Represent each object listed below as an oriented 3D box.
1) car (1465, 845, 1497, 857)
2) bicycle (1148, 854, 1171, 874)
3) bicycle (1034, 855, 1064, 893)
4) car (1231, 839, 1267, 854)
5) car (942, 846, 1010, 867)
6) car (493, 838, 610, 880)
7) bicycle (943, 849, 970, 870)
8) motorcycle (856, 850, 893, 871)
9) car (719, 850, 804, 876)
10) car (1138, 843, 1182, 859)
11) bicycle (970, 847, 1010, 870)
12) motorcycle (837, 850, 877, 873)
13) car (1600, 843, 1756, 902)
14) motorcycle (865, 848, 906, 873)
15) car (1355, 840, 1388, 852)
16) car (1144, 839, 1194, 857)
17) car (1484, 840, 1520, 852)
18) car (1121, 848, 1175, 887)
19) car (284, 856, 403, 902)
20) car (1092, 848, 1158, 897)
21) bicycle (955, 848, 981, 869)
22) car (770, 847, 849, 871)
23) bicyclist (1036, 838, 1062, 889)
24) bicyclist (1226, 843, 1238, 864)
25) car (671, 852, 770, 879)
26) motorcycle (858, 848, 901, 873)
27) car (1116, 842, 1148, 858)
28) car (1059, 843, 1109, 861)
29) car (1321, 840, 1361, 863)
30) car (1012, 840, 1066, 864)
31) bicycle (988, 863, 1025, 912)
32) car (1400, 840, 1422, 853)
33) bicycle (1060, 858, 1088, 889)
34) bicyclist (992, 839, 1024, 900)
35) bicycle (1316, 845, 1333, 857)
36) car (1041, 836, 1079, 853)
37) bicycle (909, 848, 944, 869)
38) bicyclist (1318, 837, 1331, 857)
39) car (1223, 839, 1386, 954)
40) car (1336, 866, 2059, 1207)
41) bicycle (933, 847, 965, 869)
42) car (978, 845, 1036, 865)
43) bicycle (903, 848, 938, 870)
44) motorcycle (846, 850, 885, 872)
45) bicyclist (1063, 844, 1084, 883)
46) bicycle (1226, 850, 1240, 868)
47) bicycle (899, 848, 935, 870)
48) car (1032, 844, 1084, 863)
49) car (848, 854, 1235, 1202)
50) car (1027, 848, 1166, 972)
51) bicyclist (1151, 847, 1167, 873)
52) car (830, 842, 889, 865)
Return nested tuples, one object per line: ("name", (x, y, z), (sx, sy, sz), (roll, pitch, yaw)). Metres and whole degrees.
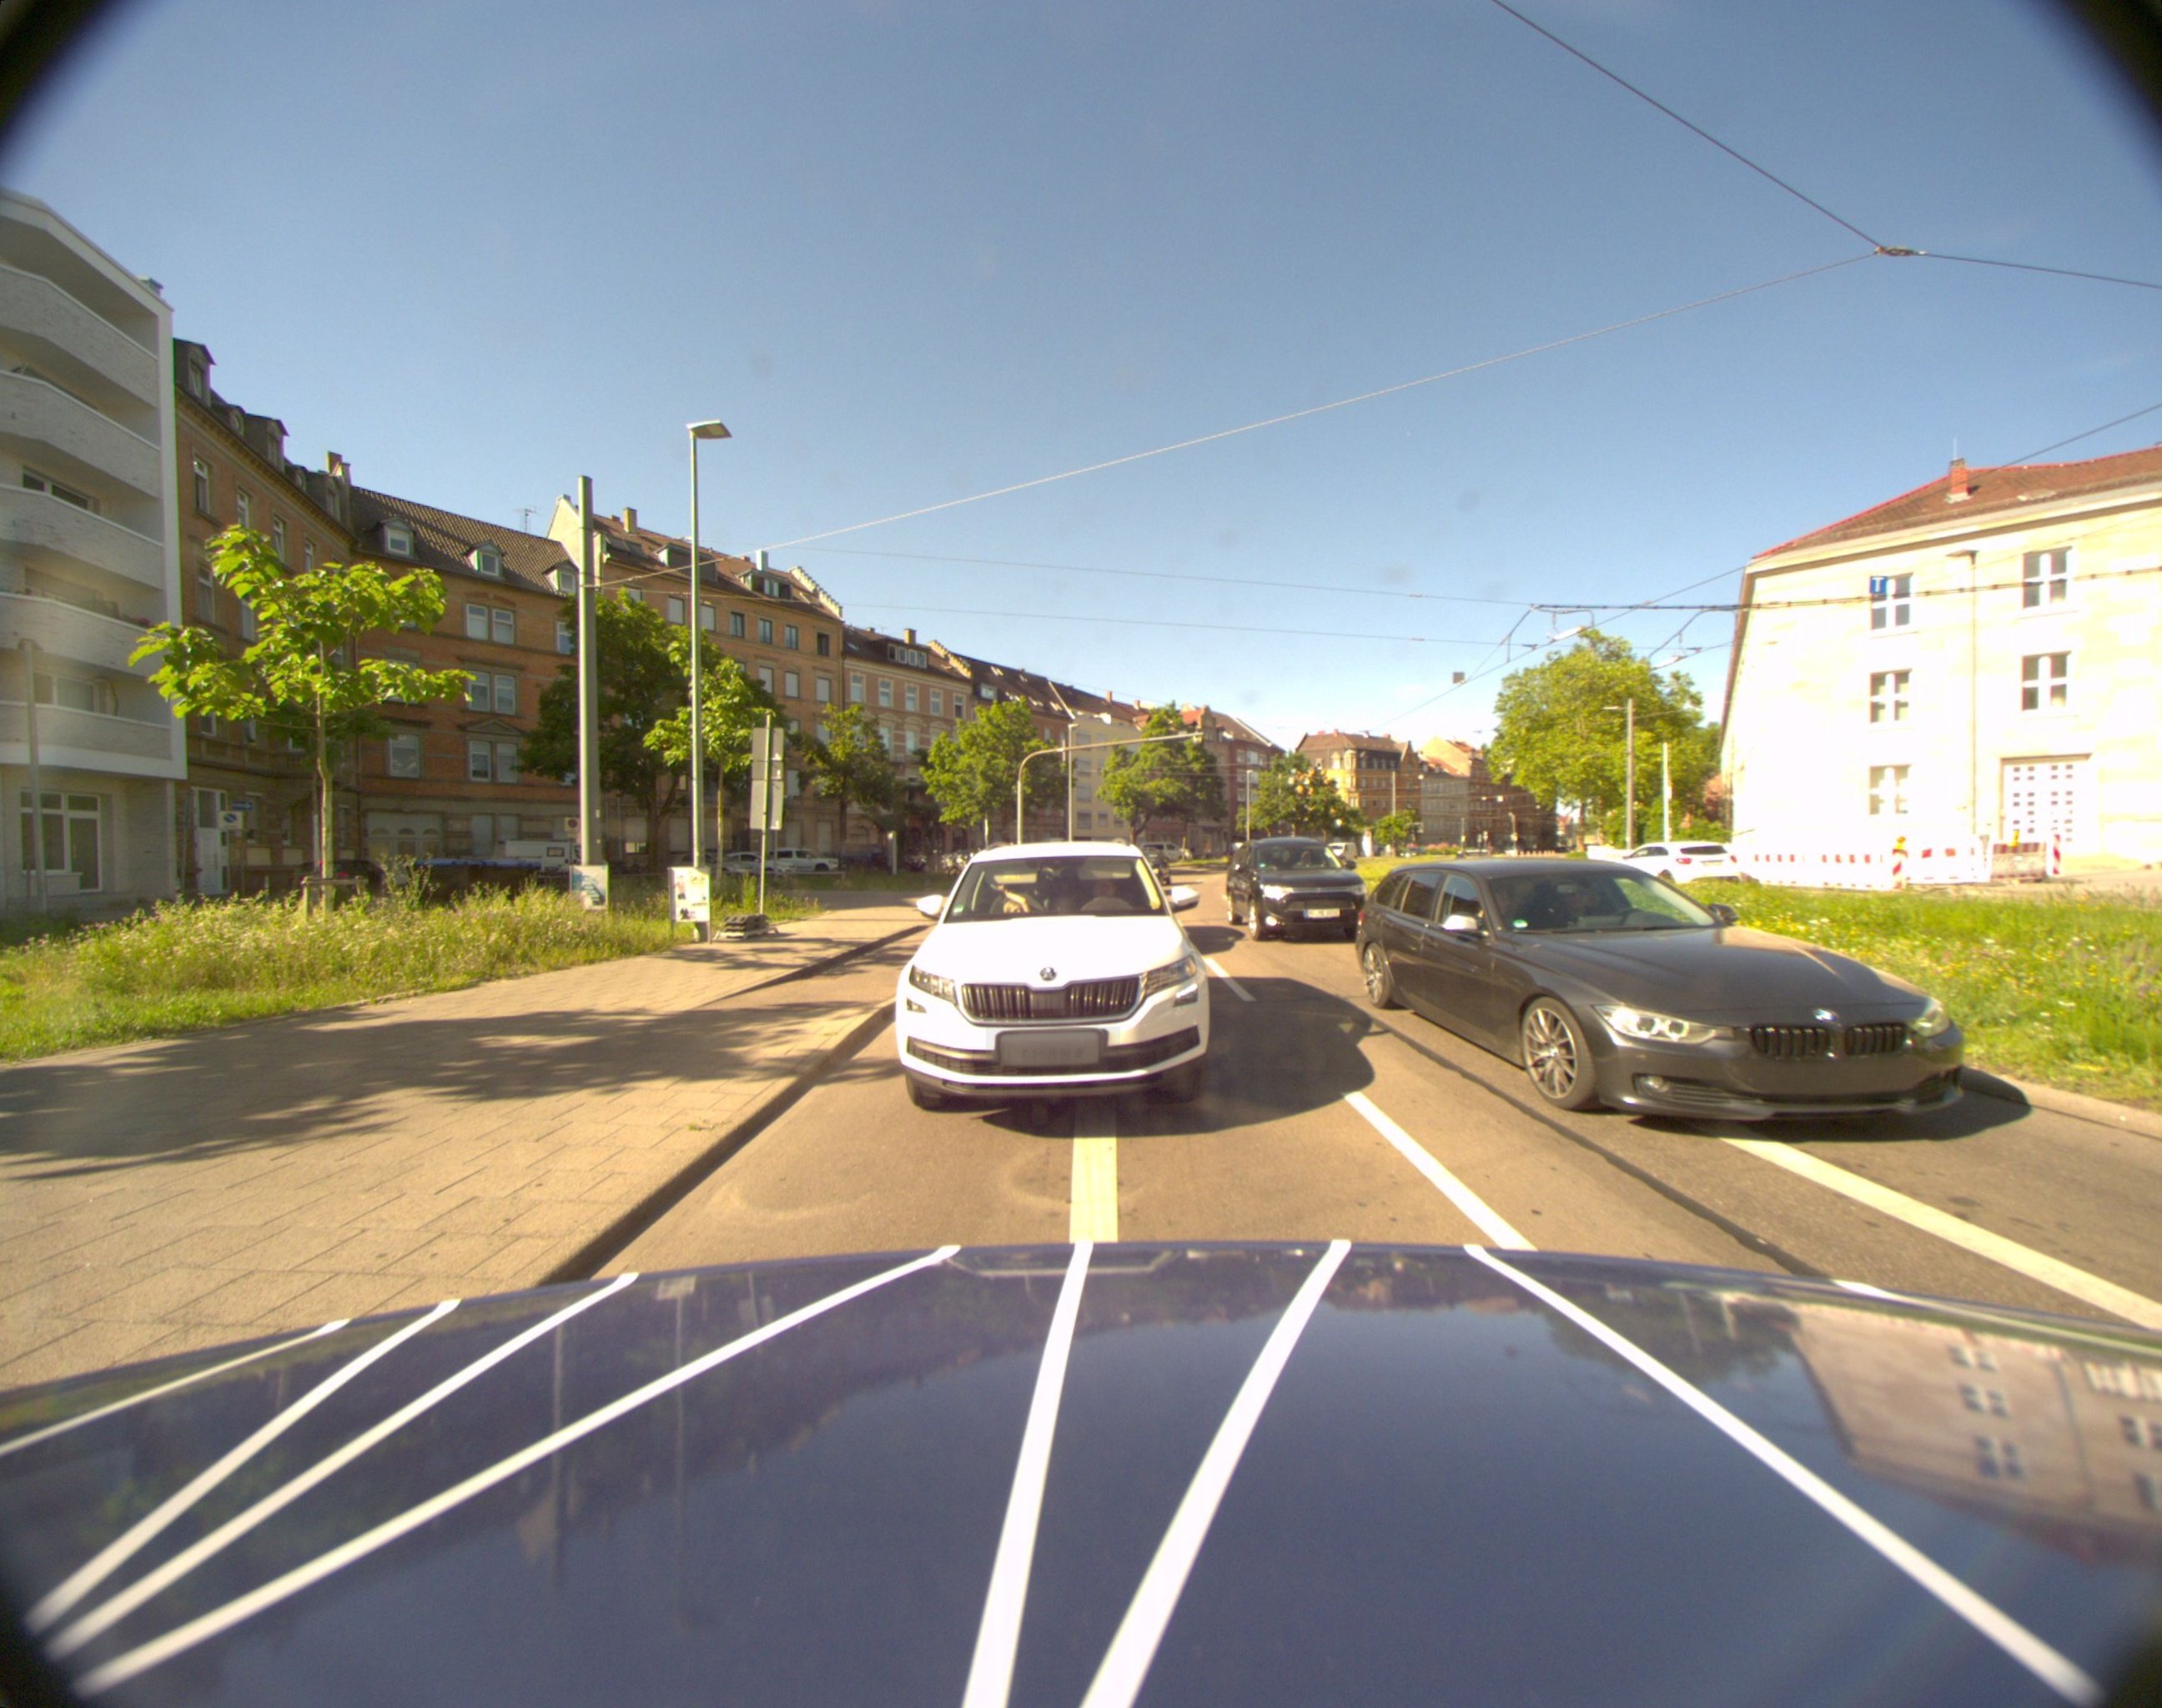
("car", (59.687, -0.461, 113.275), (4.058, 1.647, 1.770), (1, 2, 34))
("bicycle", (4.949, 0.596, 47.749), (0.667, 1.190, 2.158), (0, 1, 28))
("bicycle", (-1.156, 0.719, 27.901), (0.758, 1.293, 2.155), (-1, 1, 6))
("car", (18.699, -0.825, 84.650), (3.823, 1.581, 1.600), (0, 1, 6))
("car", (-7.040, 0.173, 51.288), (4.322, 1.398, 1.682), (0, 1, 3))
("car", (-27.115, 0.216, 39.003), (2.047, 2.026, 4.510), (1, 2, 41))
("bicycle", (-7.682, 0.338, 46.752), (0.664, 1.260, 2.199), (-3, 1, -36))
("motorcycle", (-12.599, 0.399, 46.397), (2.199, 1.260, 0.664), (-2, 1, 24))
("car", (-16.404, 0.438, 39.098), (3.696, 1.244, 1.683), (0, 1, 13))
("car", (7.130, -0.252, 68.171), (3.823, 1.372, 1.600), (0, 1, 9))
("bicycle", (-5.472, 0.265, 45.731), (2.207, 1.260, 0.662), (-3, 1, -25))
("motorcycle", (-13.286, 0.436, 45.012), (2.314, 1.270, 0.664), (-2, 1, 24))
("car", (18.183, 0.511, 23.419), (1.823, 1.636, 4.184), (-1, 0, 6))
("motorcycle", (-11.145, 0.355, 43.286), (2.200, 1.315, 0.664), (-2, 1, 18))
("car", (46.119, -1.271, 120.628), (4.578, 1.864, 2.004), (-2, 1, 33))
("car", (8.202, -0.593, 70.601), (4.578, 1.658, 1.600), (0, 1, 7))
("car", (59.334, -1.085, 107.106), (1.770, 1.647, 4.058), (-1, 2, -40))
("car", (3.126, 0.554, 34.858), (1.837, 1.637, 4.152), (0, 1, 14))
("car", (-26.166, 0.828, 27.141), (1.835, 1.419, 4.378), (-1, 1, -27))
("car", (1.646, 0.596, 26.949), (1.838, 1.543, 4.151), (0, 1, 10))
("bicycle", (-7.119, 0.306, 47.746), (0.664, 1.260, 2.199), (-3, 1, -36))
("car", (-14.678, 0.254, 41.187), (3.700, 1.244, 1.540), (0, 1, 2))
("bicyclist", (-1.172, 0.336, 27.951), (0.809, 1.855, 0.749), (-1, 2, 6))
("bicyclist", (12.098, -0.064, 60.759), (0.734, 1.685, 0.973), (0, 1, 22))
("car", (-17.497, 0.532, 36.899), (4.156, 1.244, 1.683), (0, 1, 13))
("motorcycle", (-11.175, 0.372, 42.200), (2.200, 1.322, 0.663), (-2, 1, 13))
("car", (5.473, -0.426, 80.720), (1.547, 1.578, 3.607), (1, 2, 41))
("car", (0.264, -0.163, 61.157), (3.823, 1.398, 1.600), (0, 1, 6))
("car", (24.733, -0.250, 72.215), (1.977, 2.074, 4.723), (1, 2, 42))
("car", (-3.104, -0.140, 56.096), (3.825, 1.698, 1.682), (0, 1, 3))
("bicycle", (-2.135, 0.943, 22.035), (0.715, 1.319, 1.749), (1, 0, 6))
("car", (39.927, -0.911, 91.910), (1.836, 1.464, 4.722), (1, 1, 31))
("bicycle", (-0.282, 0.808, 32.121), (0.637, 1.190, 2.156), (-1, 1, 13))
("bicyclist", (-2.120, 0.434, 22.114), (0.715, 1.715, 1.094), (1, 1, 6))
("bicycle", (24.634, -0.285, 76.767), (0.762, 1.138, 2.287), (0, 1, 41))
("car", (-1.935, -0.946, 71.657), (1.547, 1.578, 3.607), (1, 2, 41))
("bicycle", (-9.507, 0.277, 46.704), (2.198, 1.260, 0.664), (-2, 1, 32))
("bicyclist", (24.561, -0.735, 76.705), (0.847, 2.002, 1.199), (0, 1, 42))
("car", (3.699, 0.624, 13.390), (1.841, 1.636, 4.399), (-2, 0, 5))
("car", (3.480, 0.848, 5.586), (1.741, 1.359, 4.426), (-2, 0, 1))
("bicycle", (-7.726, 0.238, 44.510), (0.664, 1.260, 2.198), (-3, 1, -45))
("car", (-5.223, 0.084, 53.957), (3.822, 1.398, 1.683), (0, 1, 9))
("bicycle", (-9.703, 0.292, 46.001), (2.198, 1.260, 0.664), (-2, 1, 32))
("motorcycle", (-12.937, 0.413, 45.617), (2.314, 1.276, 0.664), (-2, 1, 24))
("bicyclist", (-0.316, 0.395, 32.017), (0.630, 1.619, 0.972), (-1, 1, 13))
("bicycle", (12.167, 0.395, 60.944), (0.735, 1.353, 2.078), (0, 1, 21))
("bicycle", (-9.739, 0.304, 45.063), (2.198, 1.260, 0.664), (-2, 1, 30))
("car", (-1.772, -0.057, 58.704), (3.823, 1.398, 1.600), (0, 1, 6))
("car", (-0.226, 0.853, 5.942), (1.842, 1.636, 4.397), (-2, 0, -1))
("car", (0.237, 0.760, 12.600), (1.842, 1.636, 4.397), (-2, 0, 1))
("bicyclist", (4.889, 0.360, 47.645), (0.667, 1.619, 0.973), (0, 1, 29))
("car", (-15.607, -0.058, 53.664), (1.547, 1.578, 3.709), (1, 2, 41))
